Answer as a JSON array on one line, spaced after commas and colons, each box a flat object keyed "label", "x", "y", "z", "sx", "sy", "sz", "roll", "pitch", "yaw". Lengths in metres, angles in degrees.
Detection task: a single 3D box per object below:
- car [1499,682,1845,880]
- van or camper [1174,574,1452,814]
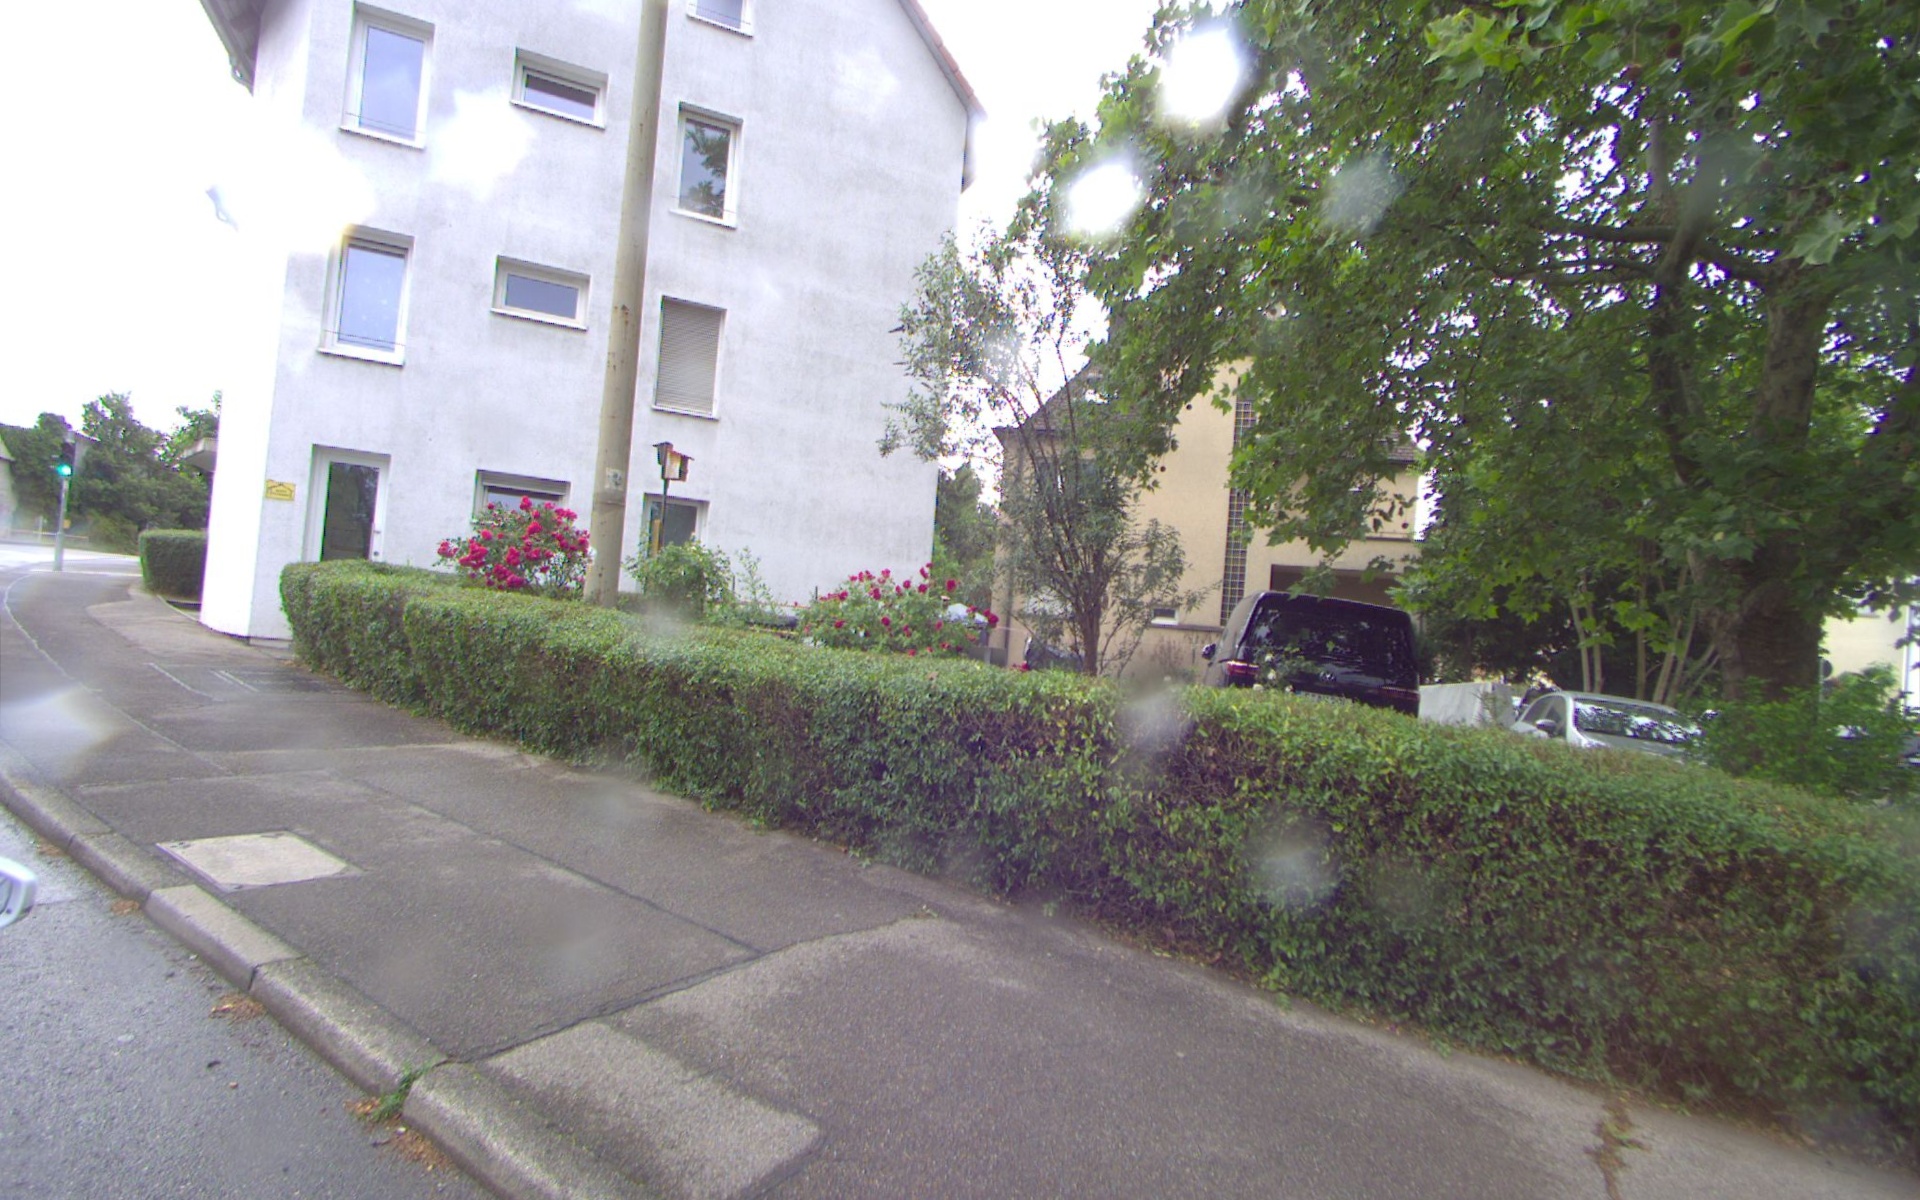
[{"label": "car", "x": 7.458, "y": 1.773, "z": 11.078, "sx": 1.963, "sy": 1.481, "sz": 4.002, "roll": 6, "pitch": -2, "yaw": 20}, {"label": "van or camper", "x": 3.623, "y": 0.940, "z": 11.219, "sx": 1.962, "sy": 1.926, "sz": 4.333, "roll": 7, "pitch": -2, "yaw": 9}]
